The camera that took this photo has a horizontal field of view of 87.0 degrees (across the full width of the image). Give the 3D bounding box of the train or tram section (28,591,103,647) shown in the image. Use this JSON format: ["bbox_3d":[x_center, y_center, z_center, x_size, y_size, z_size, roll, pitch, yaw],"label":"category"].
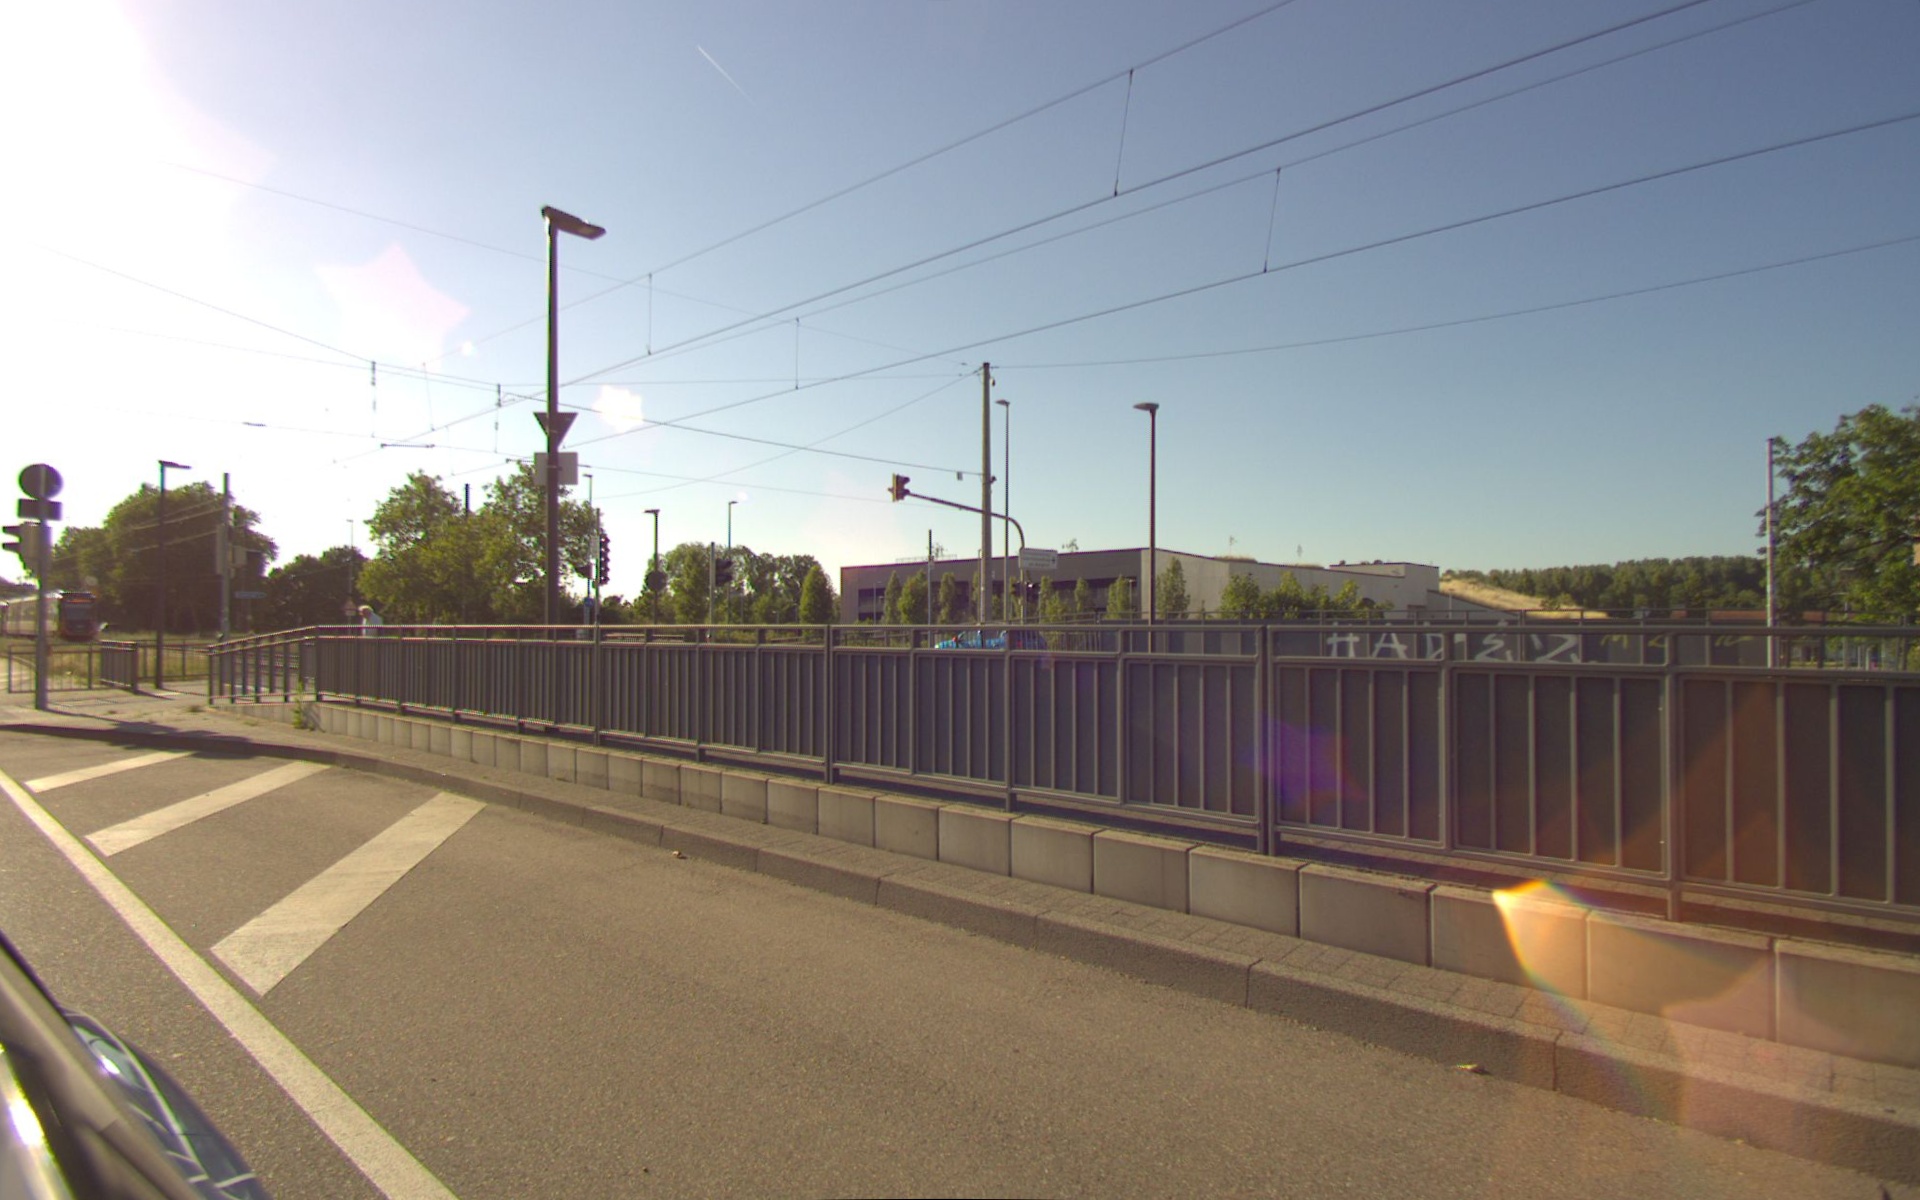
[{"bbox_3d":[-67.926,1.461,76.696,12.108,3.977,2.853,-1,-2,42],"label":"train or tram section"}]

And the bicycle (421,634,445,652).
[{"bbox_3d":[-35.676,2.913,68.511,2.528,1.136,0.624,-1,-2,42],"label":"bicycle"}]

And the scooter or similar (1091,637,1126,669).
[{"bbox_3d":[5.224,1.861,35.651,1.131,1.104,0.400,-1,-2,31],"label":"scooter or similar"}]

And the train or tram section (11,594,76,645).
[{"bbox_3d":[-76.599,1.666,84.504,11.336,3.977,2.853,-1,-2,42],"label":"train or tram section"}]

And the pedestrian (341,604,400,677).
[{"bbox_3d":[-13.818,0.941,23.721,0.985,1.657,0.881,-1,-2,38],"label":"pedestrian"}]

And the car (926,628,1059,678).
[{"bbox_3d":[0.965,1.601,31.385,3.999,1.457,1.714,-1,-2,42],"label":"car"}]

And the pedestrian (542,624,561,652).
[{"bbox_3d":[-24.066,2.246,59.574,0.878,1.621,0.713,-1,-2,42],"label":"pedestrian"}]

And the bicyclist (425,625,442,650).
[{"bbox_3d":[-35.673,2.542,68.549,0.835,1.629,0.760,-1,-2,42],"label":"bicyclist"}]
